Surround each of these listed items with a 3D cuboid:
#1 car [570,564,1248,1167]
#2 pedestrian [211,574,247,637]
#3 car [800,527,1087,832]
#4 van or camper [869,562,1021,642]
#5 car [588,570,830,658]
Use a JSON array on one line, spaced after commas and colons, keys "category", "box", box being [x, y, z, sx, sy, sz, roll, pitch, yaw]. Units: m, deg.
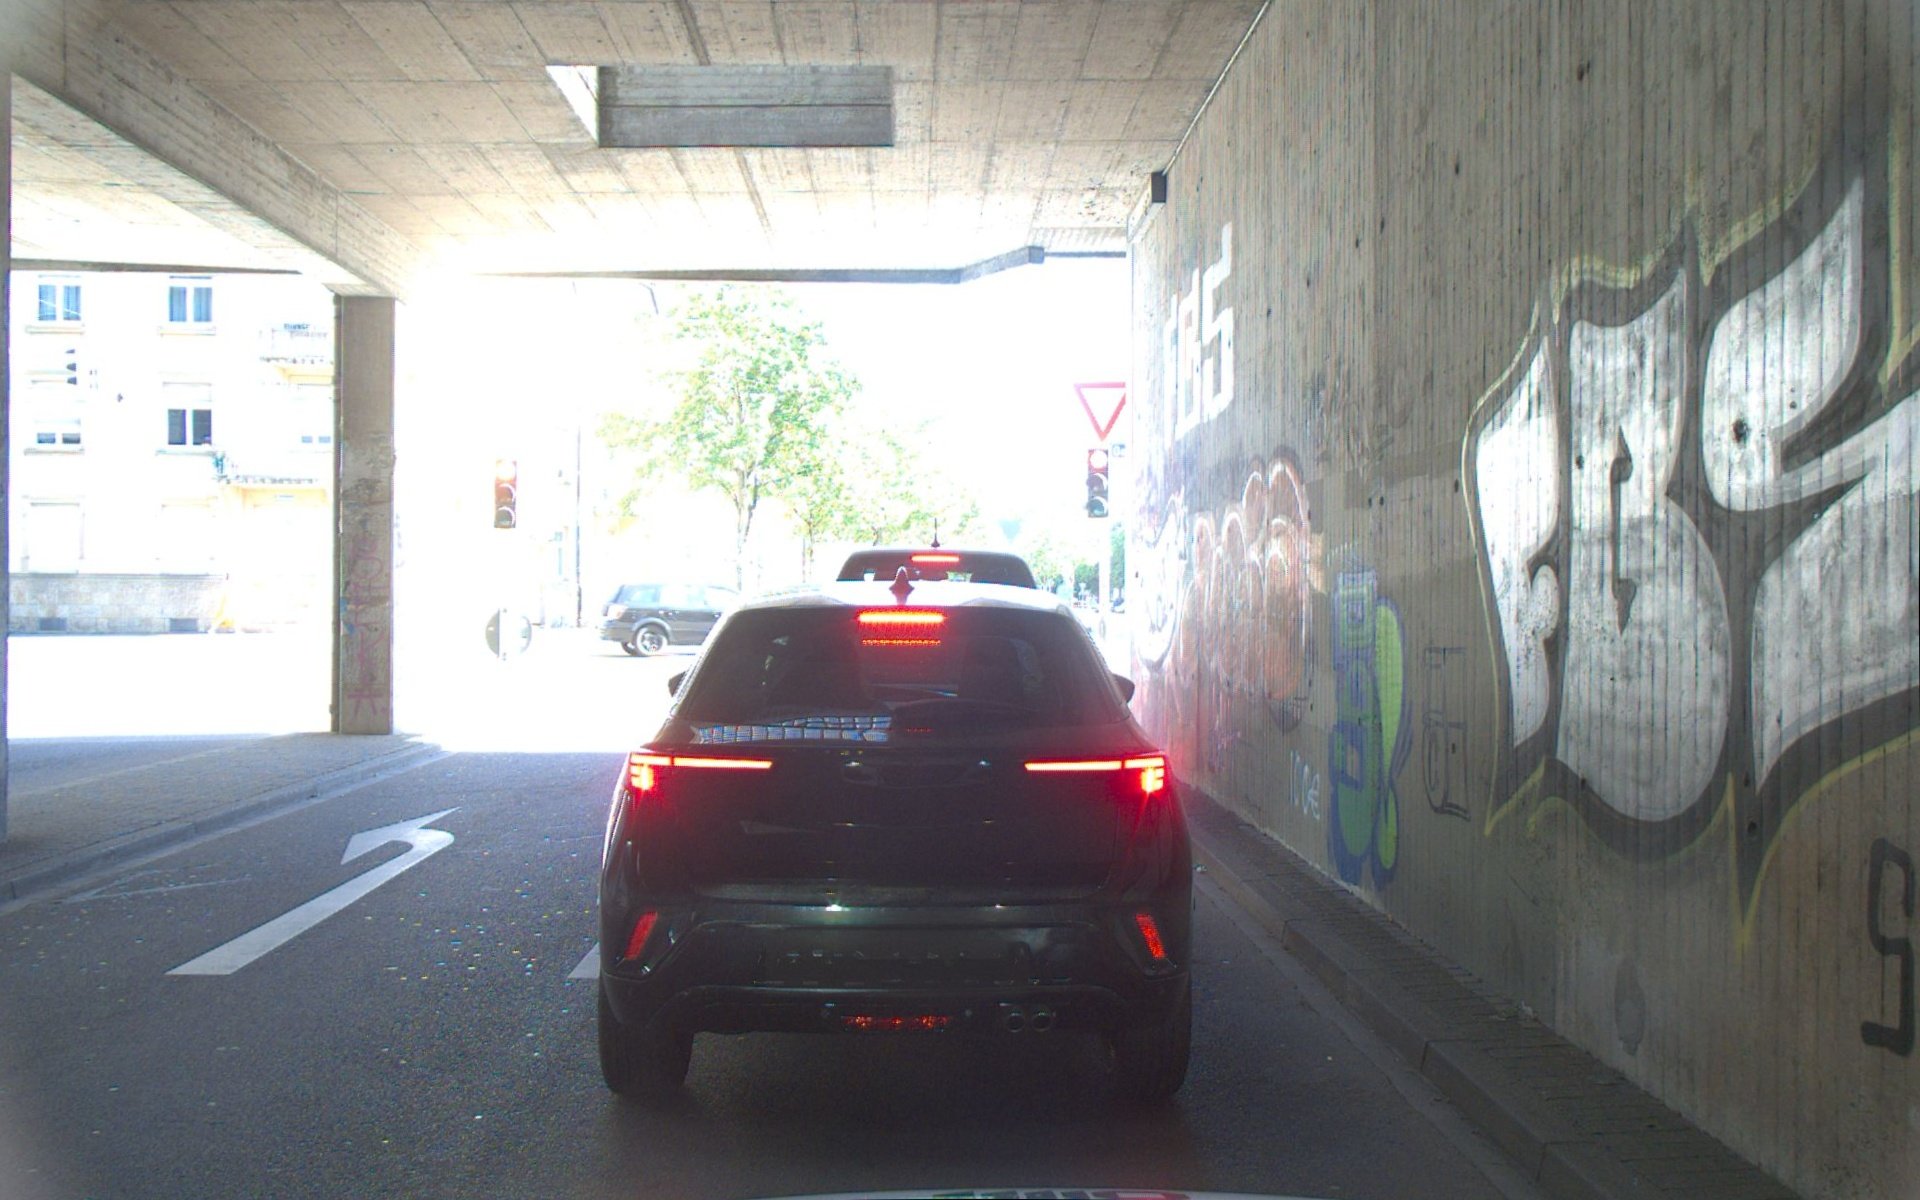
[{"category": "car", "box": [-0.144, 0.673, 6.252, 1.718, 1.525, 4.000, 1, 0, -1]}, {"category": "pedestrian", "box": [-20.371, 0.146, 46.081, 0.707, 1.734, 0.624, 1, -1, -6]}, {"category": "car", "box": [-0.125, 0.482, 12.200, 1.749, 1.865, 3.960, 1, 0, -1]}, {"category": "van or camper", "box": [-0.354, 0.055, 43.724, 3.795, 2.049, 2.002, 0, 0, 7]}, {"category": "car", "box": [-5.060, 0.233, 33.303, 4.515, 1.670, 1.986, -1, 1, -23]}]
